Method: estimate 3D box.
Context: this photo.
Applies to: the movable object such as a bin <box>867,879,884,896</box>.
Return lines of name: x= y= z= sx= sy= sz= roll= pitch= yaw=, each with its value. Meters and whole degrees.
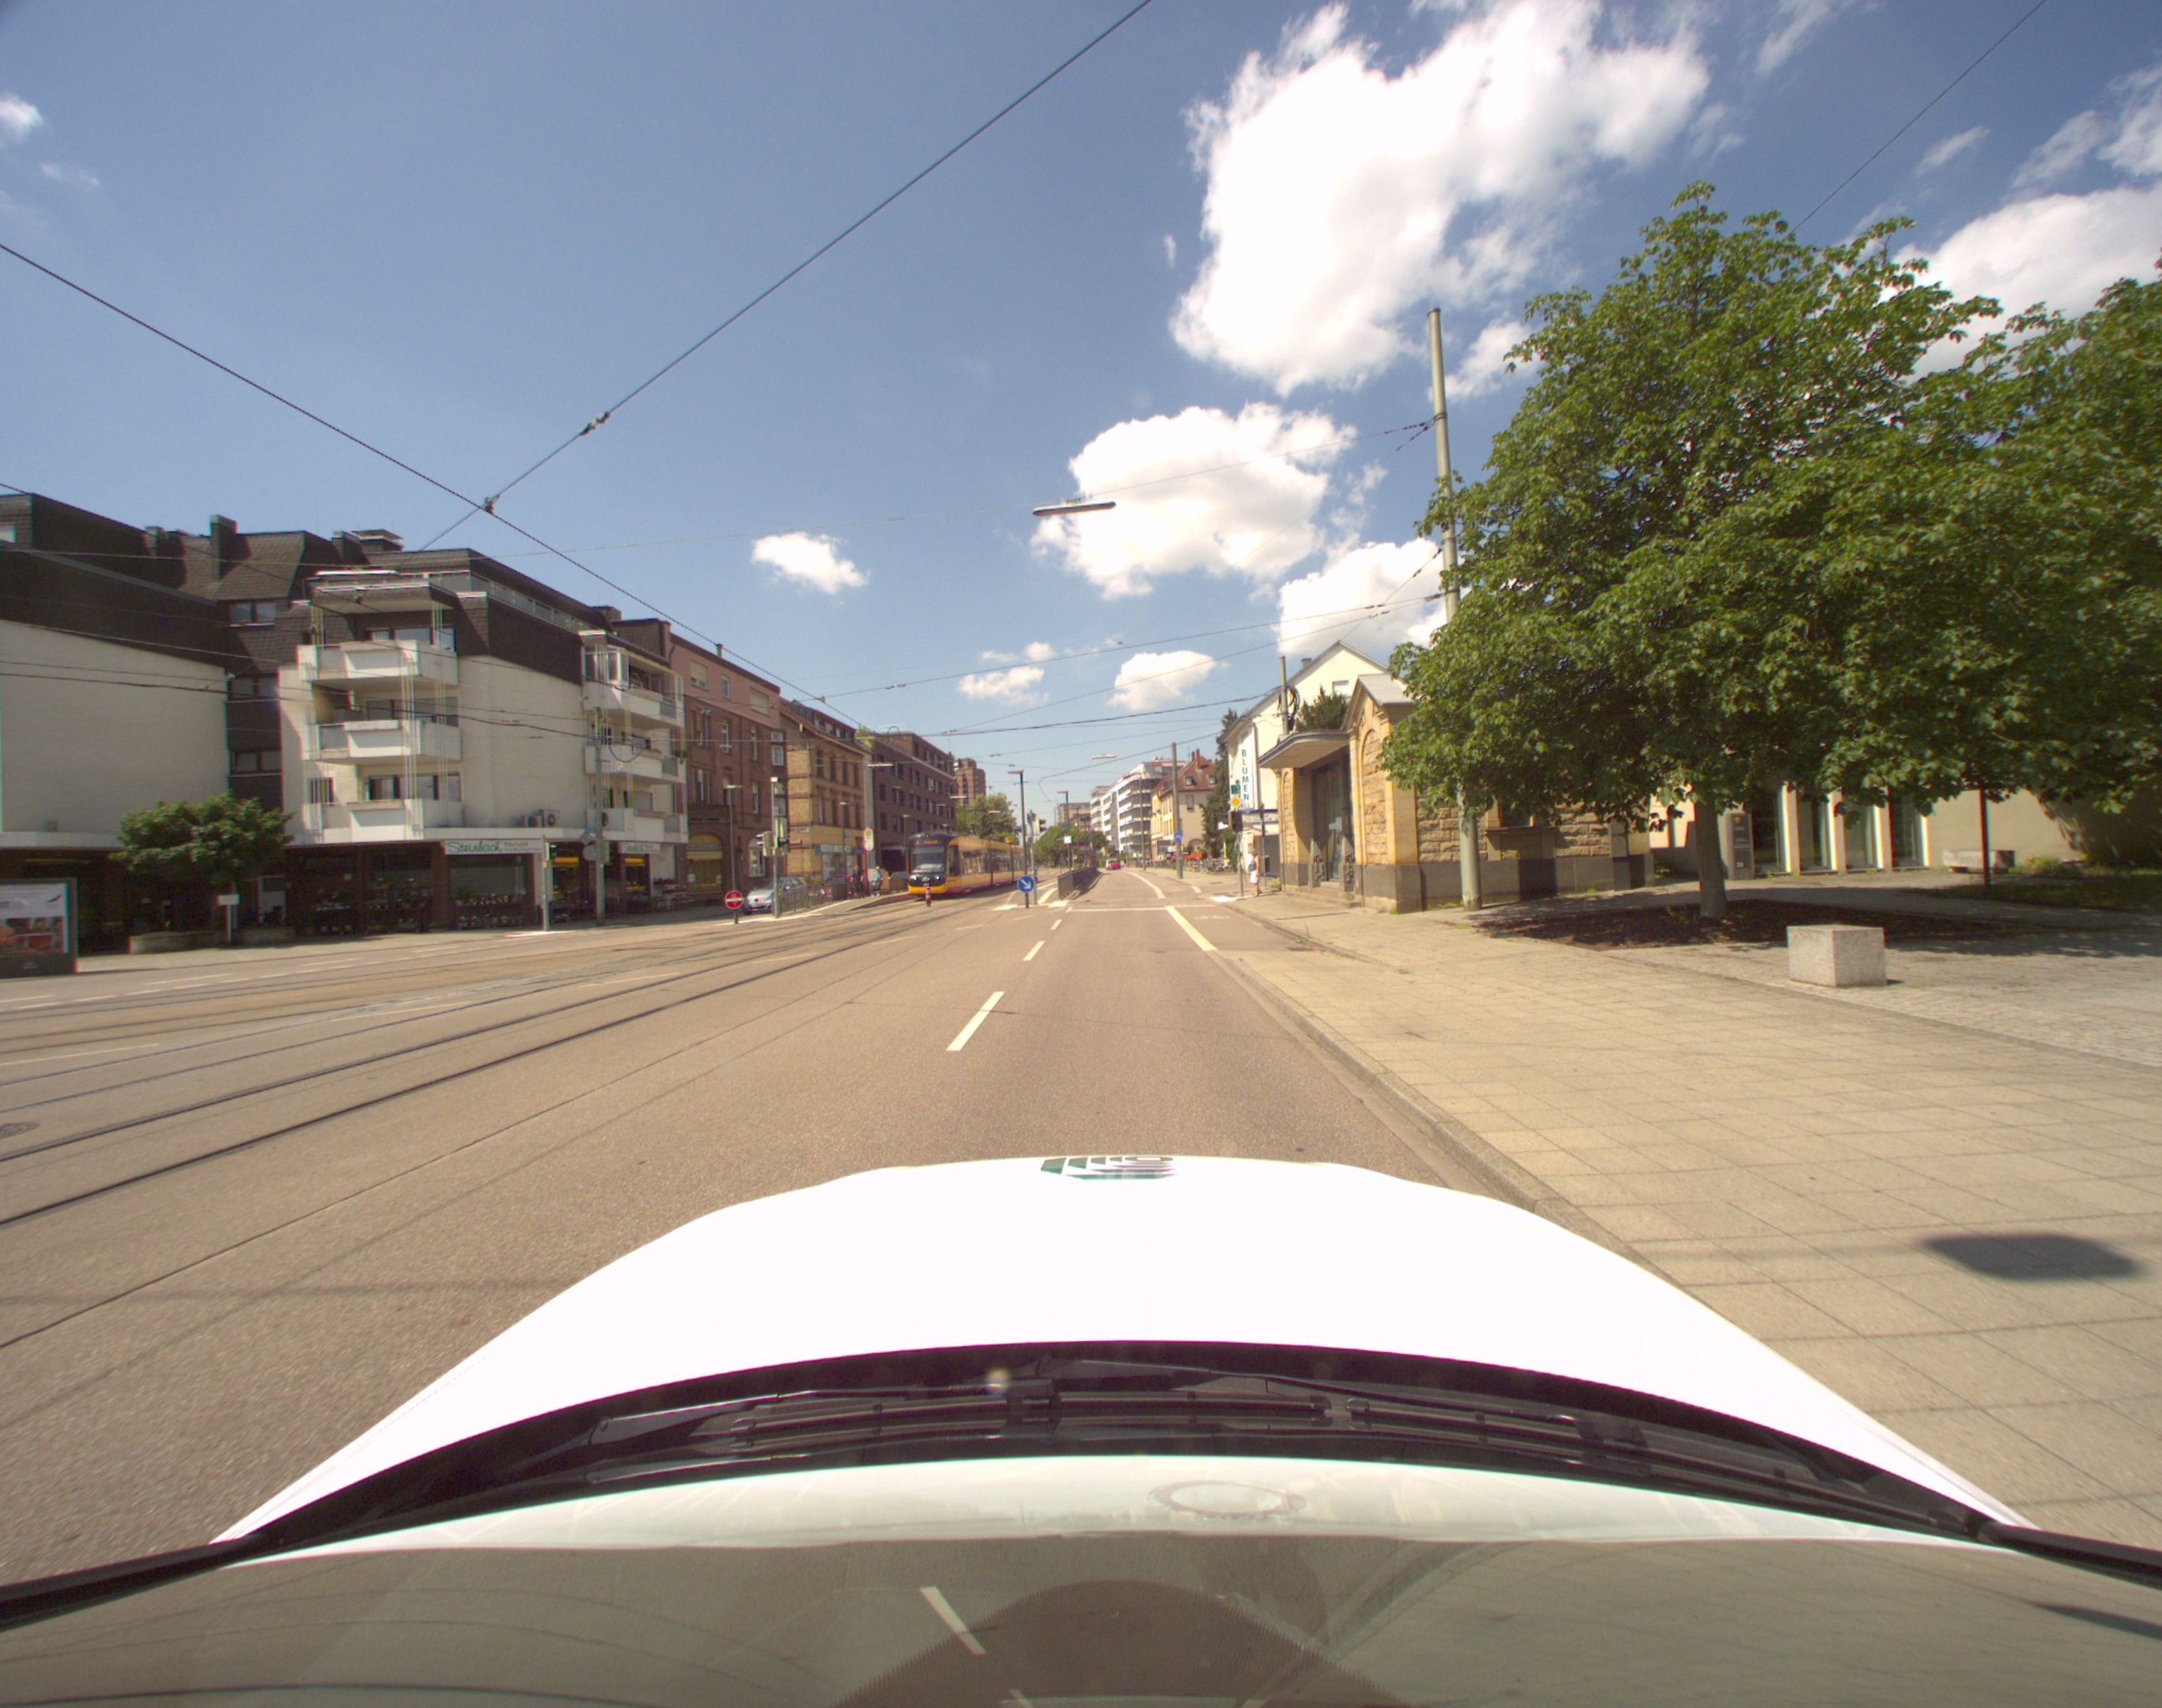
movable object such as a bin: x=-10.315 y=1.688 z=40.889 sx=0.673 sy=0.780 sz=0.619 roll=-3 pitch=-1 yaw=0

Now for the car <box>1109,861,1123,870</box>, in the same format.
car: x=6.479 y=2.144 z=151.281 sx=1.989 sy=1.442 sz=4.011 roll=-3 pitch=-1 yaw=-4

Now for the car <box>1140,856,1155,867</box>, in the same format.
car: x=11.525 y=1.314 z=141.309 sx=1.874 sy=1.624 sz=4.634 roll=-5 pitch=-1 yaw=-3

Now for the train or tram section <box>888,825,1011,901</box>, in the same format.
train or tram section: x=-7.373 y=0.578 z=50.369 sx=3.238 sy=3.567 sz=20.511 roll=-3 pitch=-1 yaw=2

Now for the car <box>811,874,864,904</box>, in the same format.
car: x=-13.683 y=1.958 z=45.953 sx=1.648 sy=1.445 sz=3.856 roll=-3 pitch=0 yaw=3

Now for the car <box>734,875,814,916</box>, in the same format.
car: x=-13.967 y=1.846 z=37.347 sx=1.729 sy=1.615 sz=4.606 roll=-3 pitch=-1 yaw=1

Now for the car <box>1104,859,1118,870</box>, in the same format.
car: x=5.761 y=1.986 z=157.844 sx=1.991 sy=1.991 sz=5.504 roll=-4 pitch=0 yaw=-5

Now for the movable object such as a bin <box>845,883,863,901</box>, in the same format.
movable object such as a bin: x=-10.757 y=1.802 z=38.614 sx=0.673 sy=0.780 sz=0.538 roll=-3 pitch=-1 yaw=0

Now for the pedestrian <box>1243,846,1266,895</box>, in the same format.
pedestrian: x=6.082 y=0.565 z=28.593 sx=0.558 sy=1.666 sz=0.685 roll=-3 pitch=-1 yaw=25

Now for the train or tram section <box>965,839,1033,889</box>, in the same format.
train or tram section: x=-6.609 y=0.854 z=68.644 sx=3.222 sy=3.567 sz=16.357 roll=-3 pitch=-1 yaw=2

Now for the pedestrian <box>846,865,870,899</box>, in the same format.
pedestrian: x=-10.715 y=1.330 z=39.085 sx=0.782 sy=1.560 sz=0.921 roll=-3 pitch=-1 yaw=2

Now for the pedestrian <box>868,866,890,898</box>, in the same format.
pedestrian: x=-10.298 y=1.414 z=41.441 sx=0.782 sy=1.560 sz=0.921 roll=-3 pitch=-1 yaw=2

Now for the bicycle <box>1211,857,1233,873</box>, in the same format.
bicycle: x=10.480 y=0.803 z=60.435 sx=1.524 sy=1.086 sz=0.430 roll=-5 pitch=-1 yaw=8
